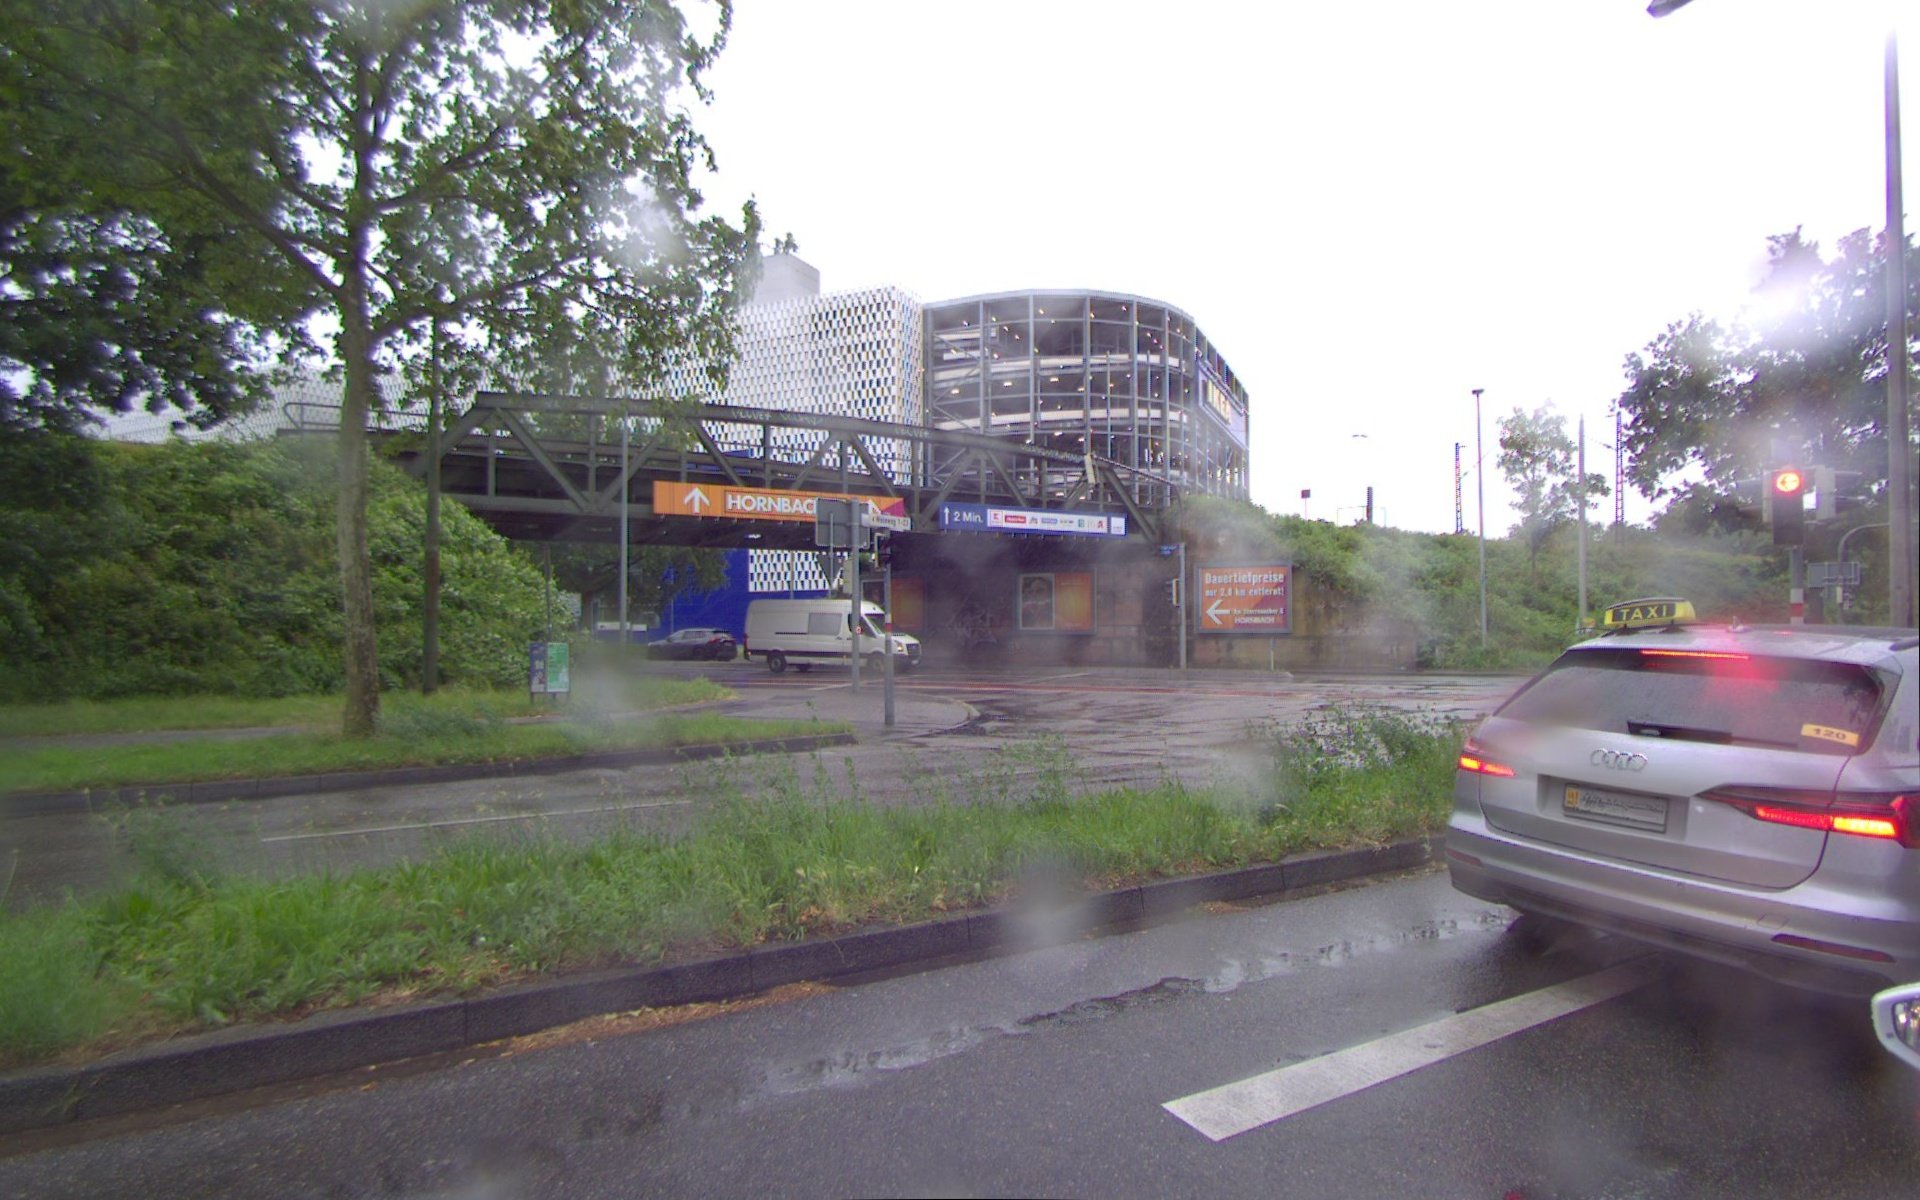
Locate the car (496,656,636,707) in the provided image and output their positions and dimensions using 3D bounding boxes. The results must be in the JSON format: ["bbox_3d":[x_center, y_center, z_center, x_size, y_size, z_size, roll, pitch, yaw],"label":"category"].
[{"bbox_3d":[-12.439,2.536,31.695,4.067,1.453,1.693,-1,-1,23],"label":"car"}]

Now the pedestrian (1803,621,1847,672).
[{"bbox_3d":[32.387,1.738,37.601,1.122,1.871,1.092,2,-2,-41],"label":"pedestrian"}]

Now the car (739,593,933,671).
[{"bbox_3d":[-4.590,1.182,36.803,6.847,2.645,2.386,-1,-2,25],"label":"car"}]

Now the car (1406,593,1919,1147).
[{"bbox_3d":[4.420,0.811,4.824,4.766,1.595,1.760,1,0,-31],"label":"car"}]

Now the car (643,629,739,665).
[{"bbox_3d":[-12.474,2.160,46.574,4.166,1.580,1.746,-1,-2,24],"label":"car"}]
